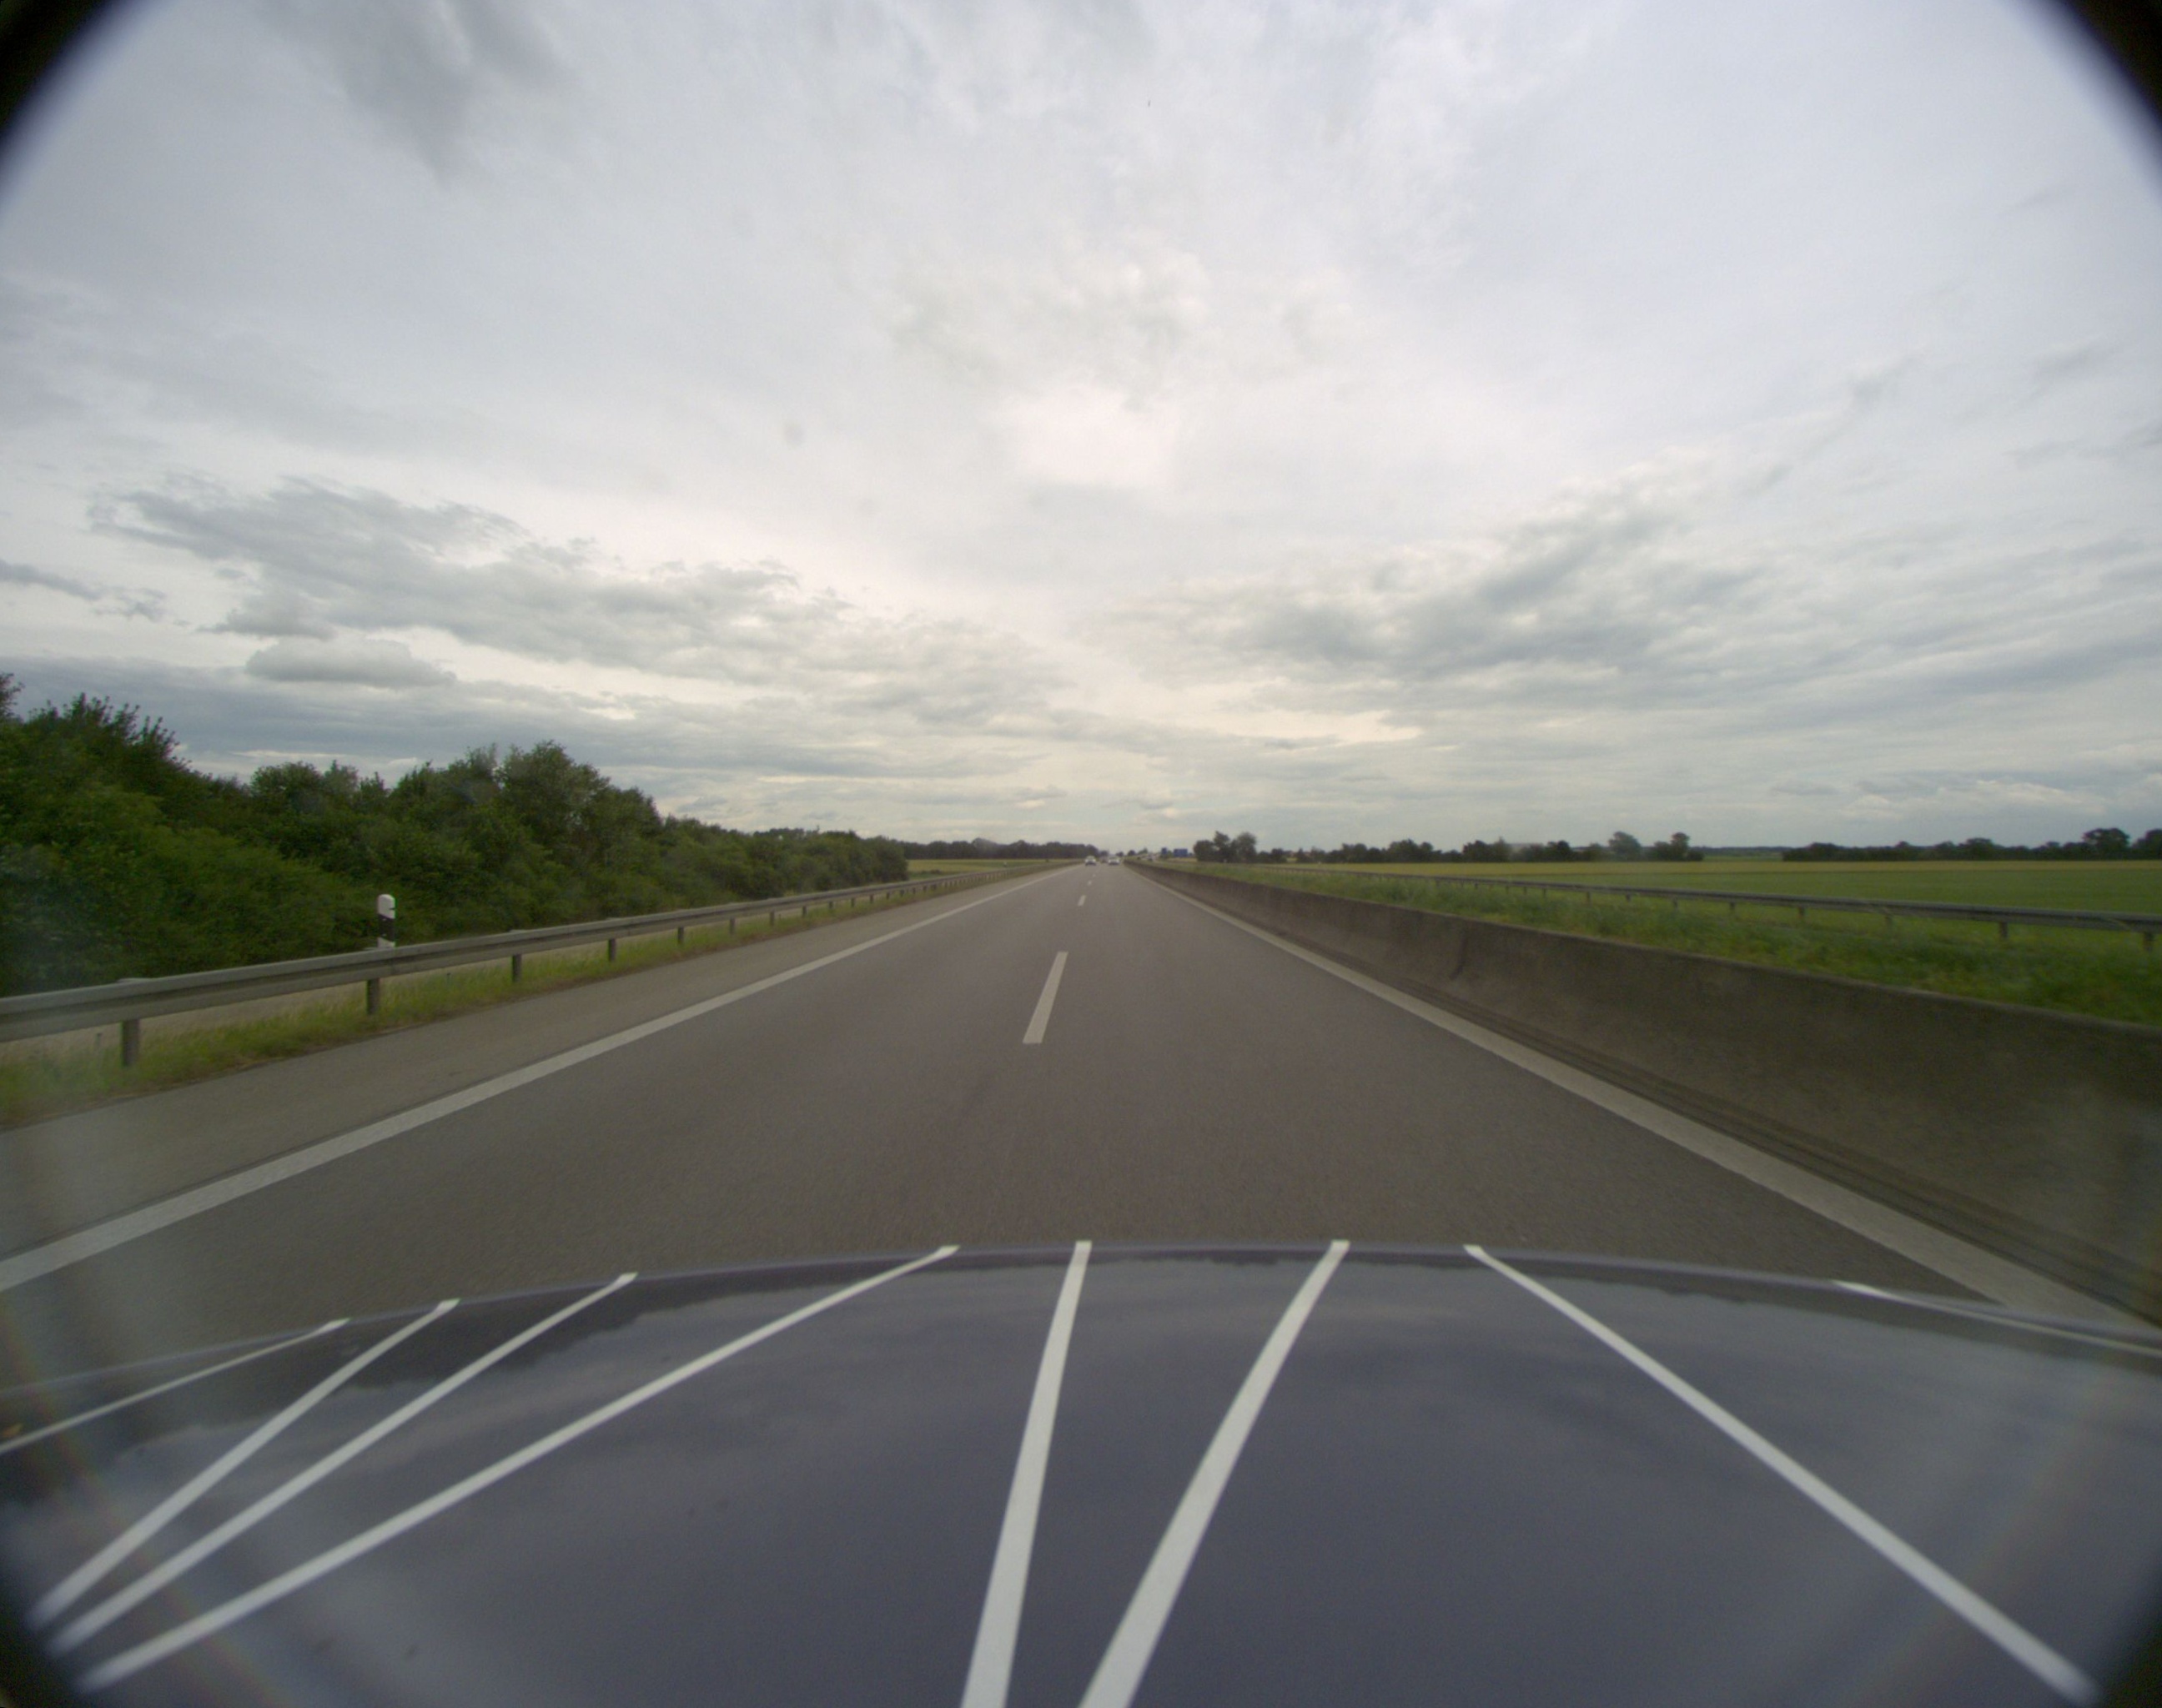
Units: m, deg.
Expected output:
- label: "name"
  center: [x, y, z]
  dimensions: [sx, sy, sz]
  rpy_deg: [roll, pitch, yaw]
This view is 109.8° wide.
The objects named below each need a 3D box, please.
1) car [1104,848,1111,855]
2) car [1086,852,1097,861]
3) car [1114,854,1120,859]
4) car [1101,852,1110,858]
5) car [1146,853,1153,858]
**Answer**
- label: "car"
  center: [8.399, -0.756, 238.719]
  dimensions: [1.915, 2.248, 5.314]
  rpy_deg: [-1, 1, 4]
- label: "car"
  center: [1.813, 0.393, 133.359]
  dimensions: [1.916, 1.553, 4.288]
  rpy_deg: [-1, 1, 1]
- label: "car"
  center: [11.438, 0.849, 240.490]
  dimensions: [1.916, 1.553, 4.288]
  rpy_deg: [-1, 1, 1]
- label: "car"
  center: [5.915, 0.253, 182.822]
  dimensions: [1.916, 1.553, 4.288]
  rpy_deg: [-1, 1, 1]
- label: "car"
  center: [22.578, 0.426, 250.491]
  dimensions: [1.793, 1.463, 4.905]
  rpy_deg: [1, 0, 2]
